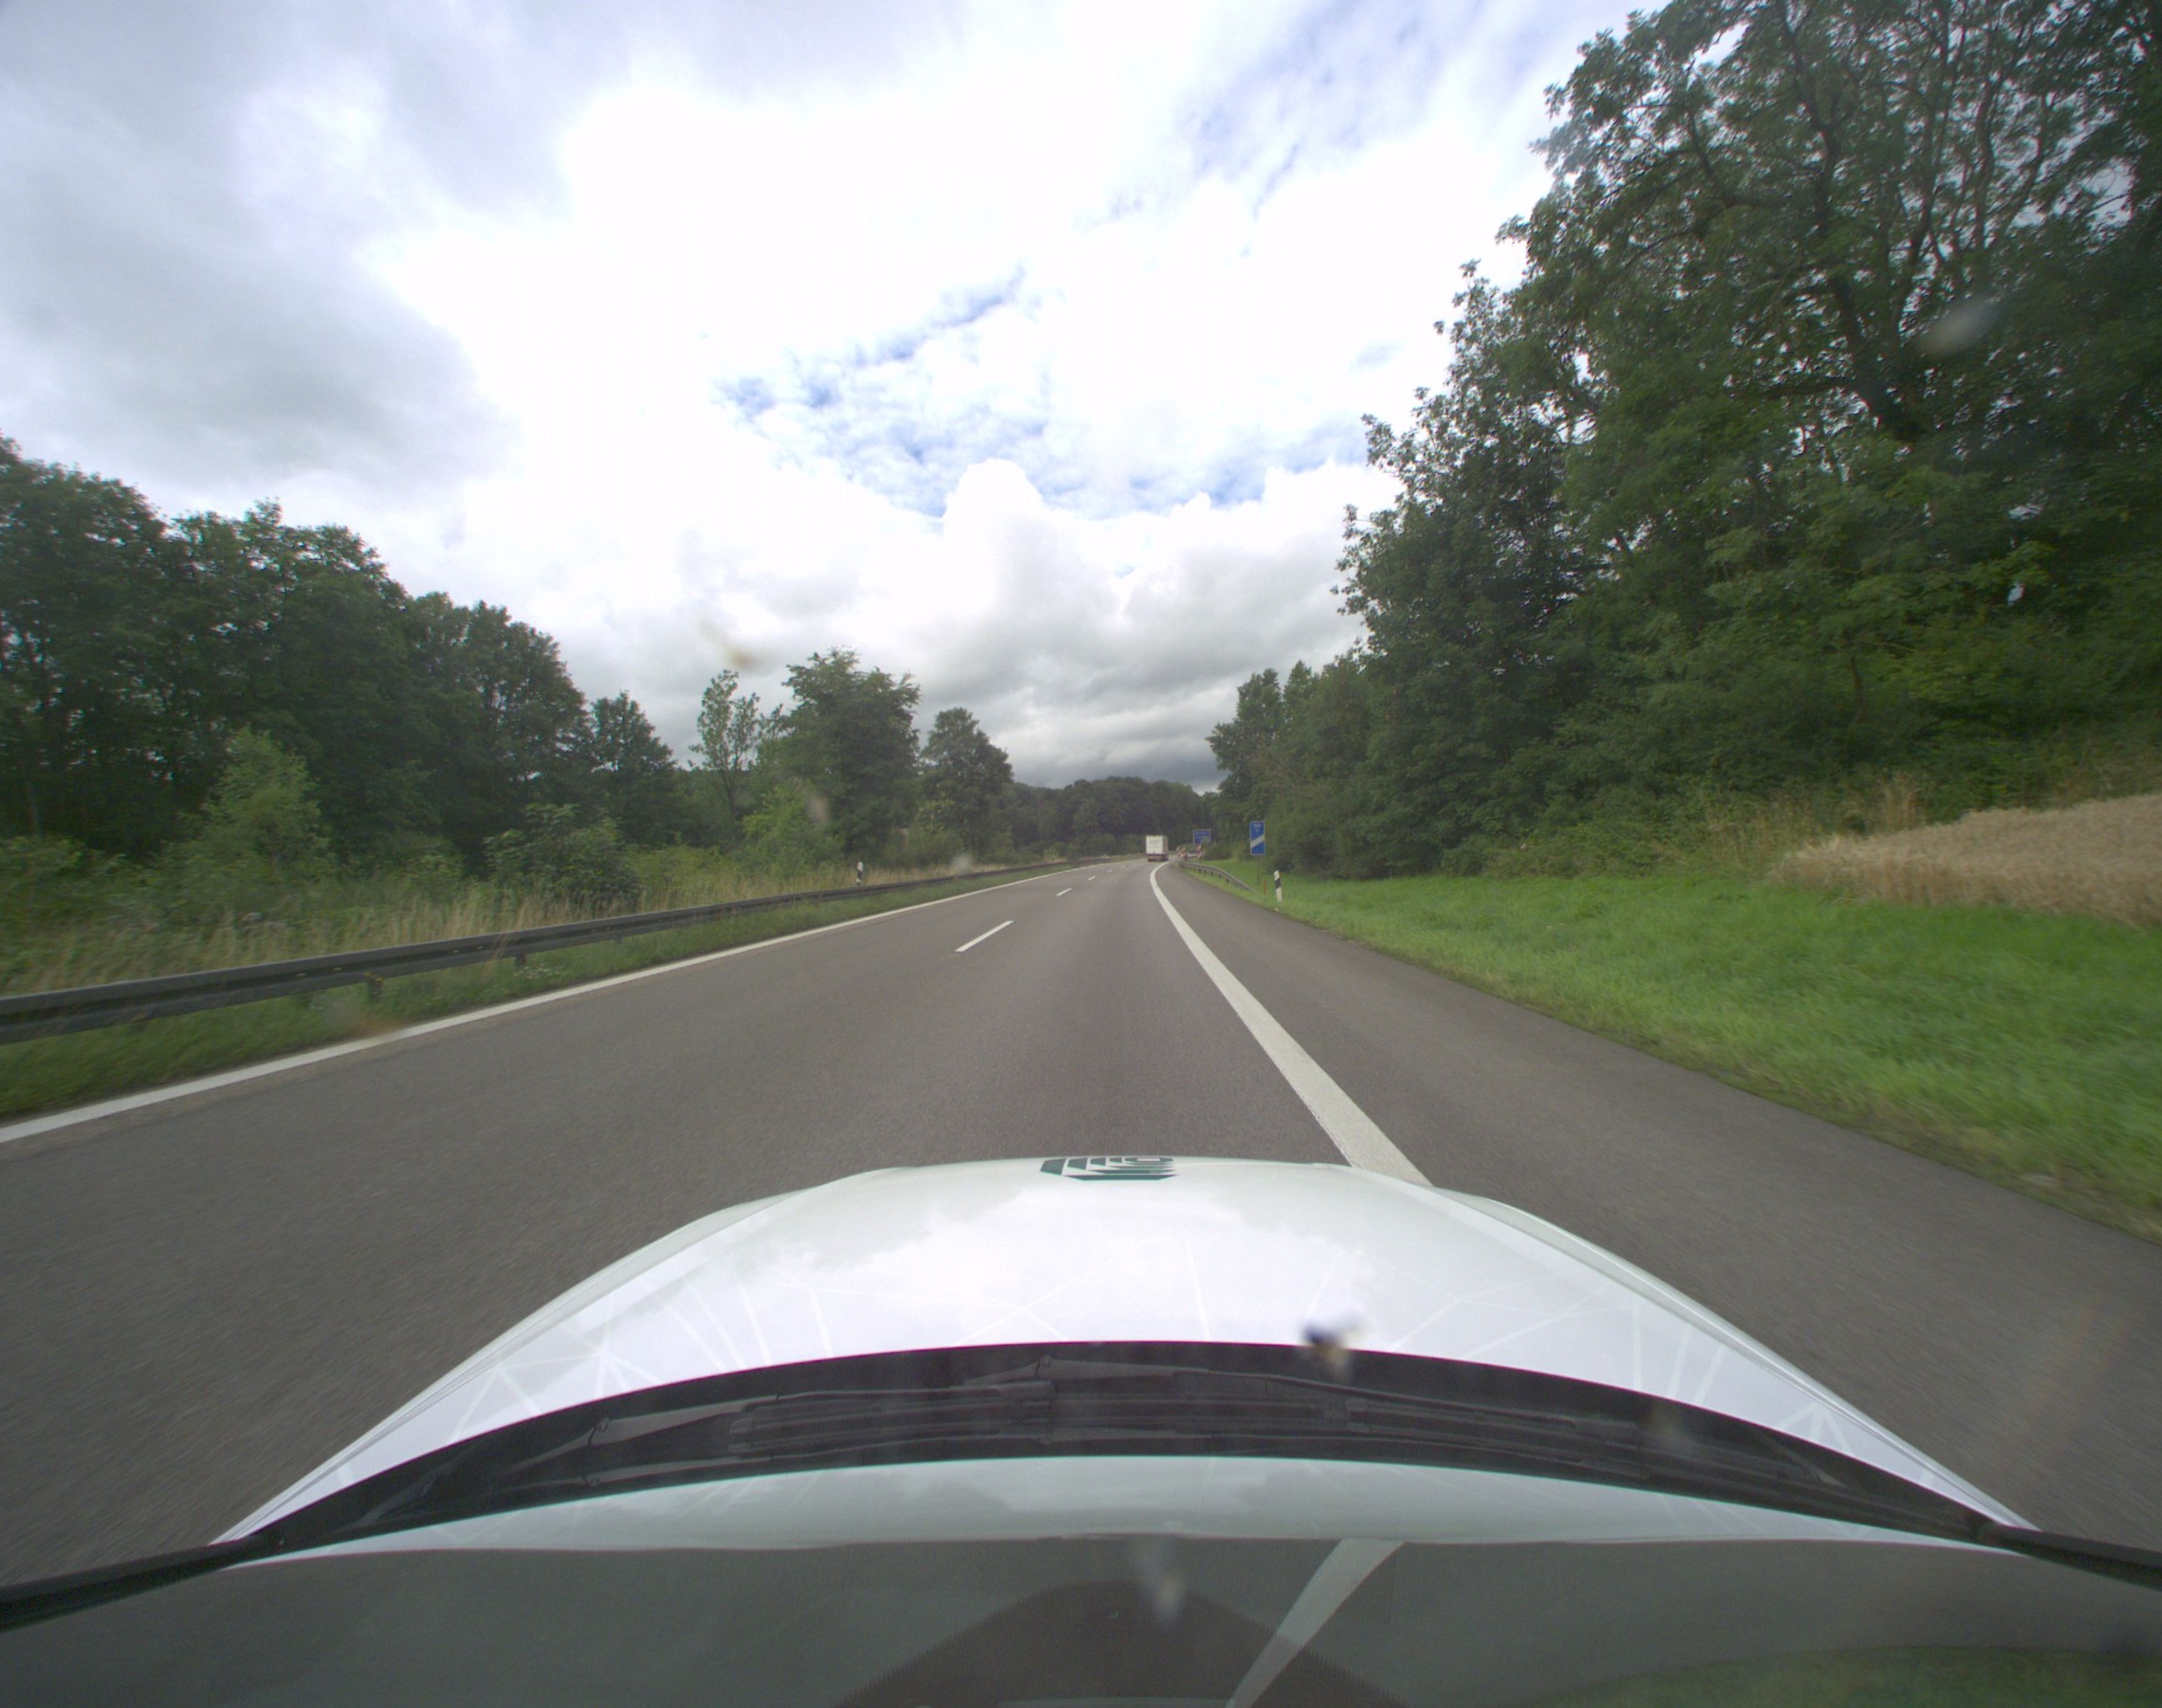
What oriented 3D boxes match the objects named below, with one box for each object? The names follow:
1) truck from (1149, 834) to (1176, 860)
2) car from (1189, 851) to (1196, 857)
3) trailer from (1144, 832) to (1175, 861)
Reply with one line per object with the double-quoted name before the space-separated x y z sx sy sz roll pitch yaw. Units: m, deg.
"truck" 13.631 -1.115 135.400 3.765 4.132 8.285 -2 0 9
"car" 32.196 0.026 235.577 1.891 1.795 4.011 -1 -1 10
"trailer" 12.527 -1.107 128.594 3.783 4.174 14.847 -2 0 9
